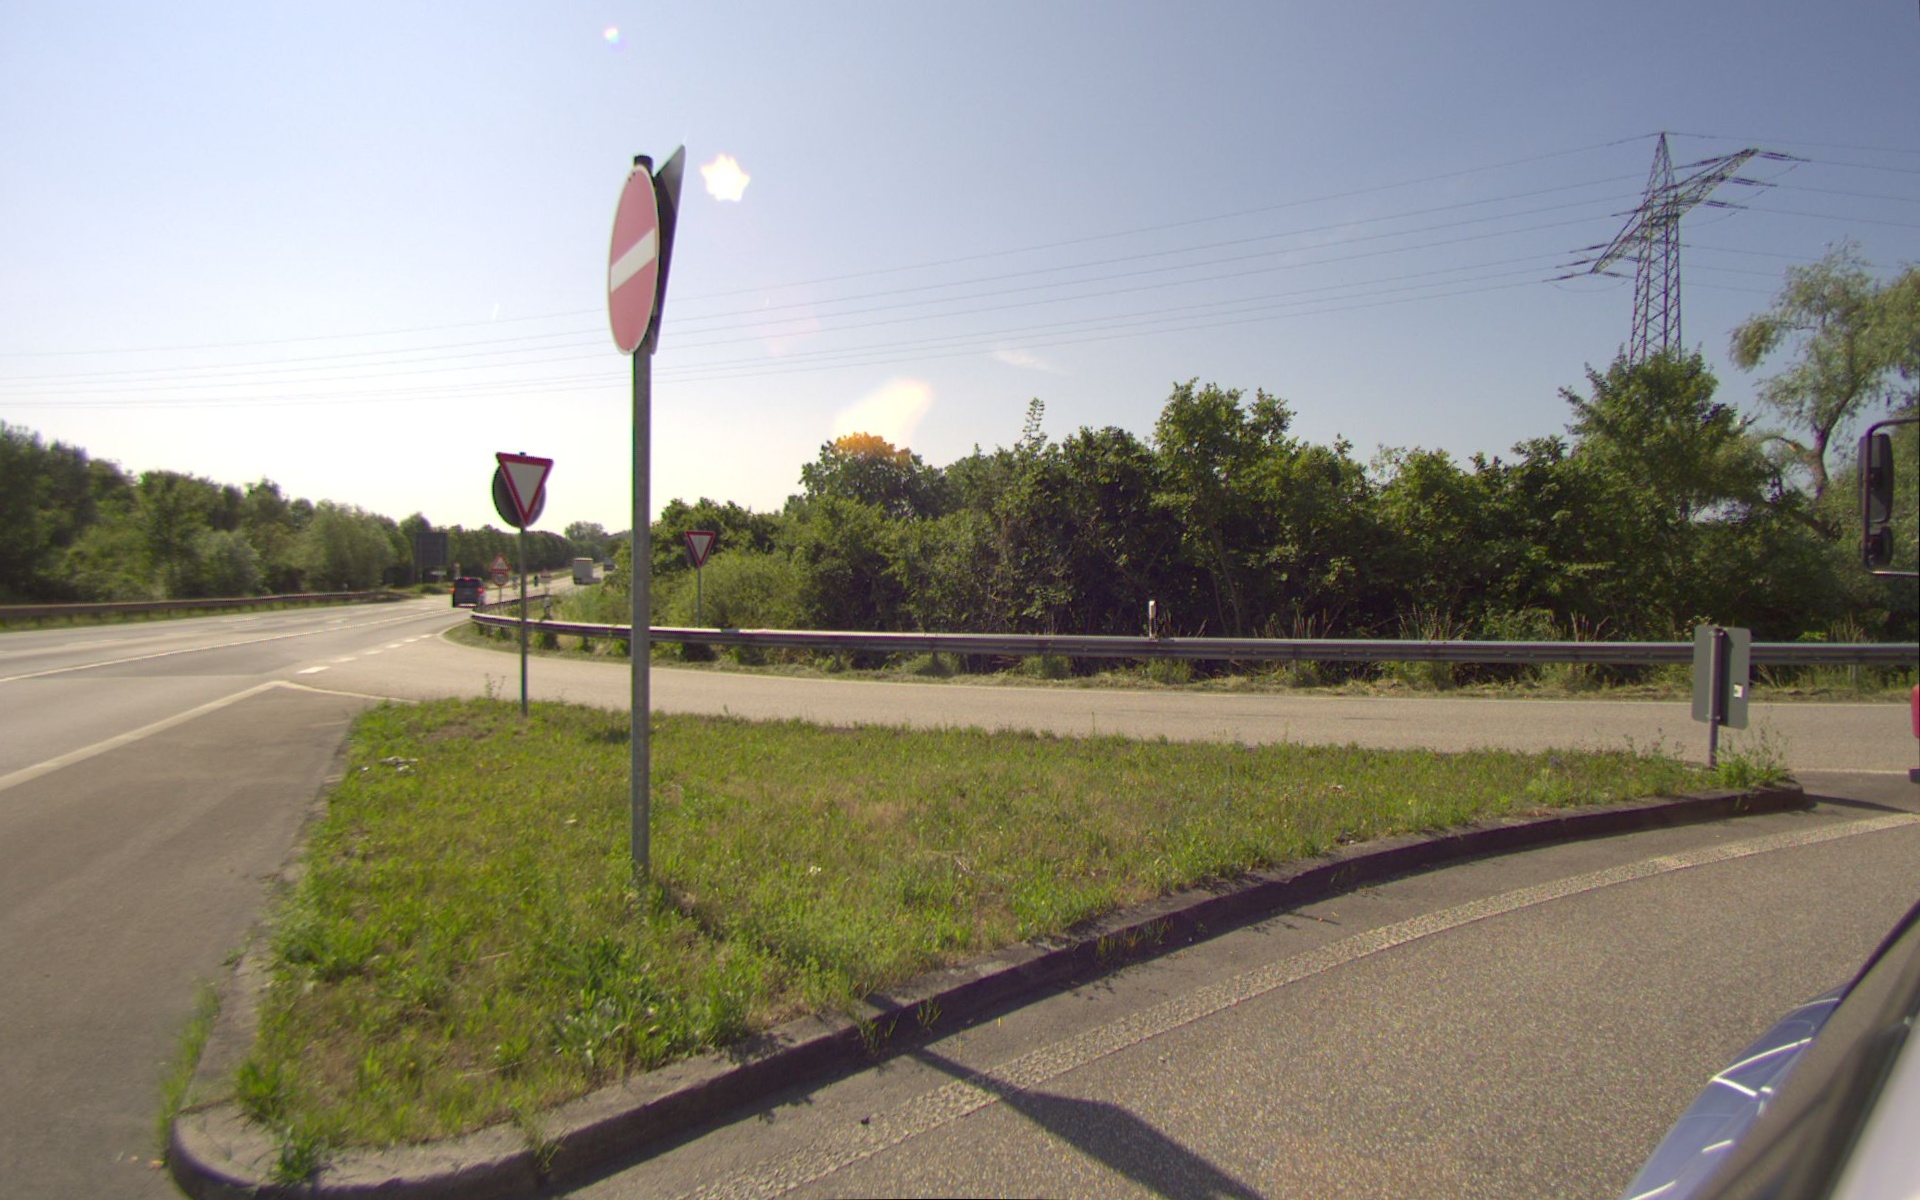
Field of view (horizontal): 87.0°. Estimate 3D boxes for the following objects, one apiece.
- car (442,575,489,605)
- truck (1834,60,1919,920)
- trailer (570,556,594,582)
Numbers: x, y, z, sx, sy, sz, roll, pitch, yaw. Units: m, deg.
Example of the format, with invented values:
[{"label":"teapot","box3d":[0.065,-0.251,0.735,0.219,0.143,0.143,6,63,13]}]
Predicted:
[{"label":"car","box3d":[-32.356,-0.647,66.346,1.958,1.903,5.004,0,0,-17]},{"label":"truck","box3d":[8.691,-0.468,5.301,9.070,3.707,2.696,0,0,-25]},{"label":"trailer","box3d":[-62.036,-5.059,166.173,2.869,4.060,13.447,0,1,-17]}]
